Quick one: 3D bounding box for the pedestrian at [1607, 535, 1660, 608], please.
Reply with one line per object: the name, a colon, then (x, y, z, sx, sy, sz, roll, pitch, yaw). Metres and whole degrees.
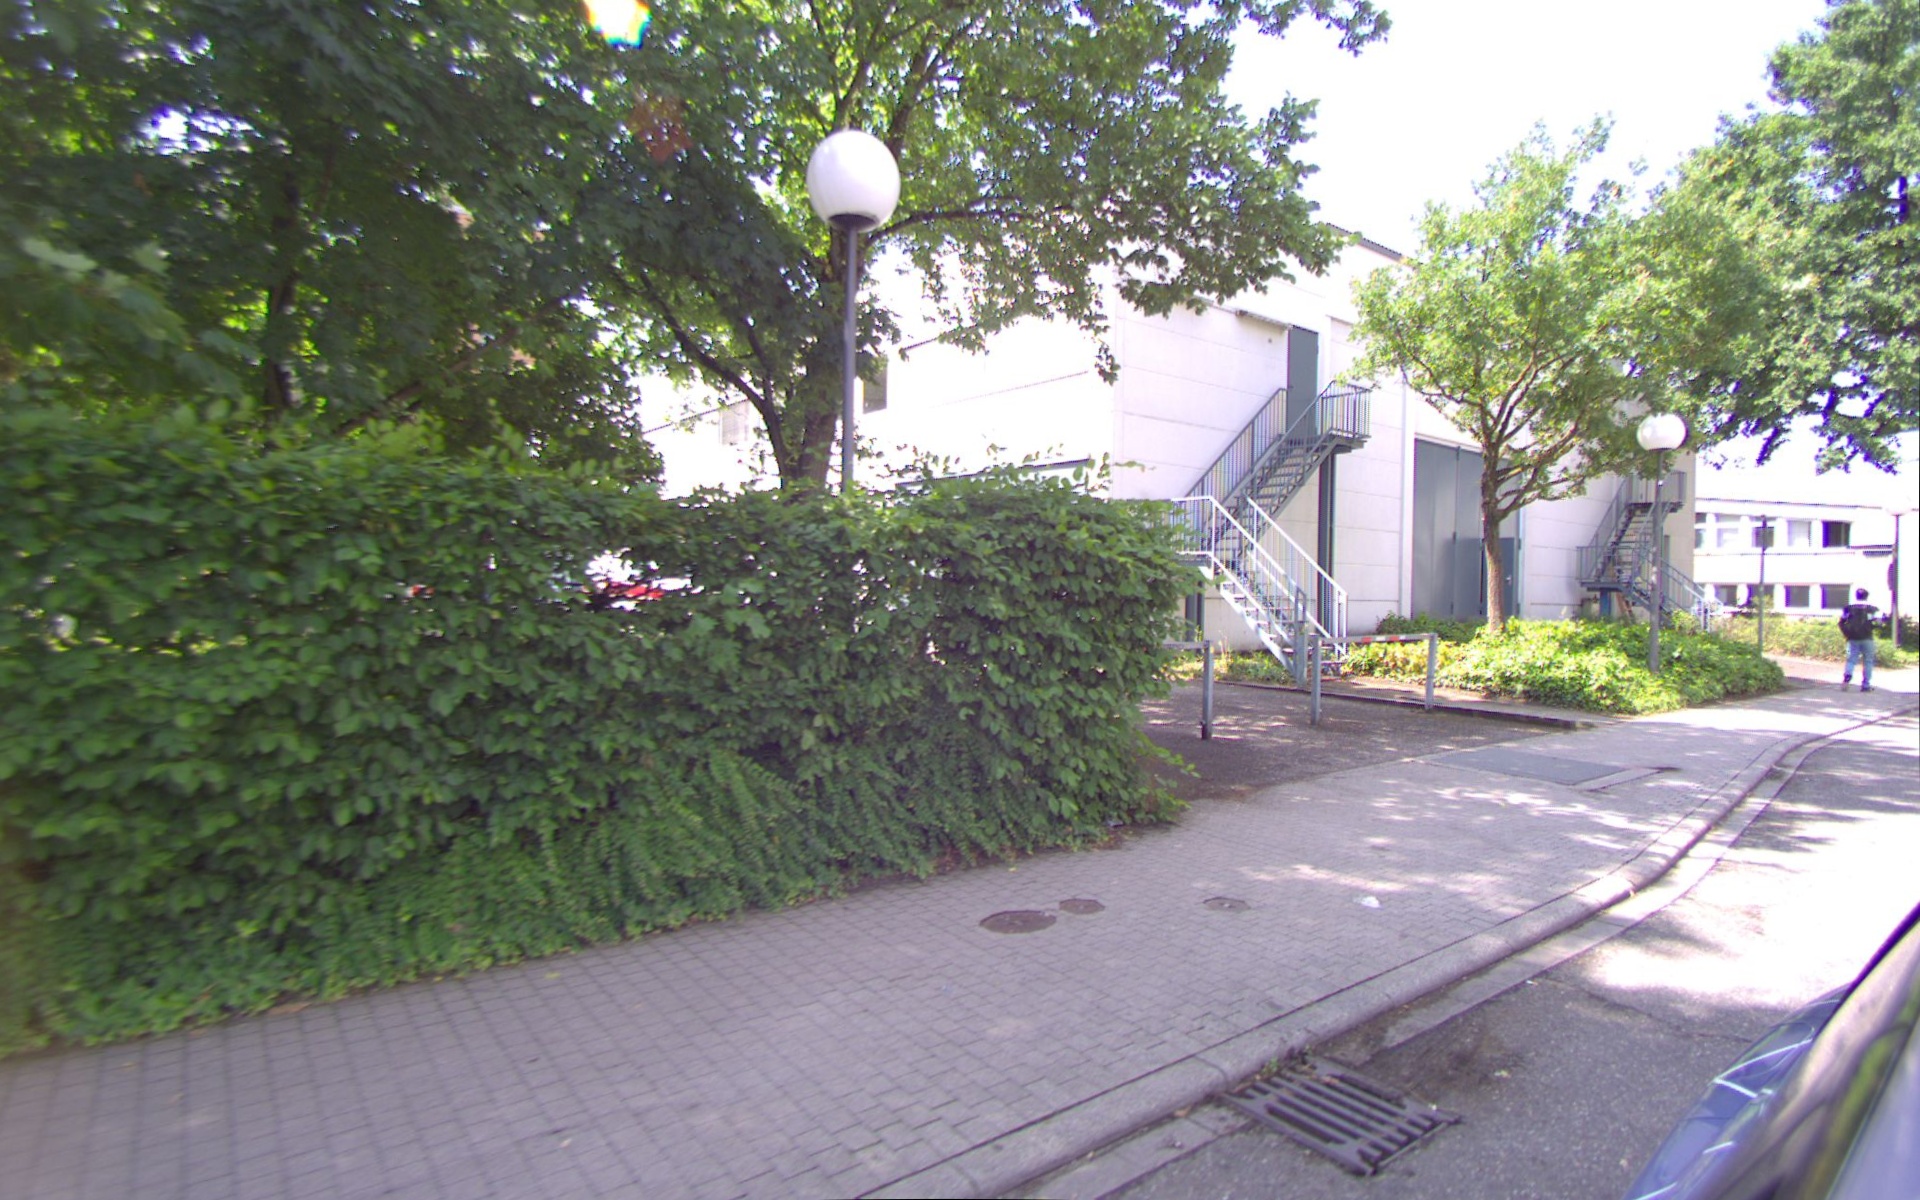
pedestrian: (19.437, -0.816, 29.213, 0.931, 2.039, 0.930, 1, 1, -34)

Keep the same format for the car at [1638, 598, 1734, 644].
car: (25.873, 0.716, 36.035, 4.105, 1.495, 1.671, 0, 1, -38)

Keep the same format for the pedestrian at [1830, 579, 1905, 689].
pedestrian: (14.698, 0.521, 16.383, 1.234, 1.695, 0.740, 1, 0, -41)

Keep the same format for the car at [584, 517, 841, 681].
car: (-3.875, -0.075, 15.134, 2.023, 2.039, 4.840, 0, 1, -36)
